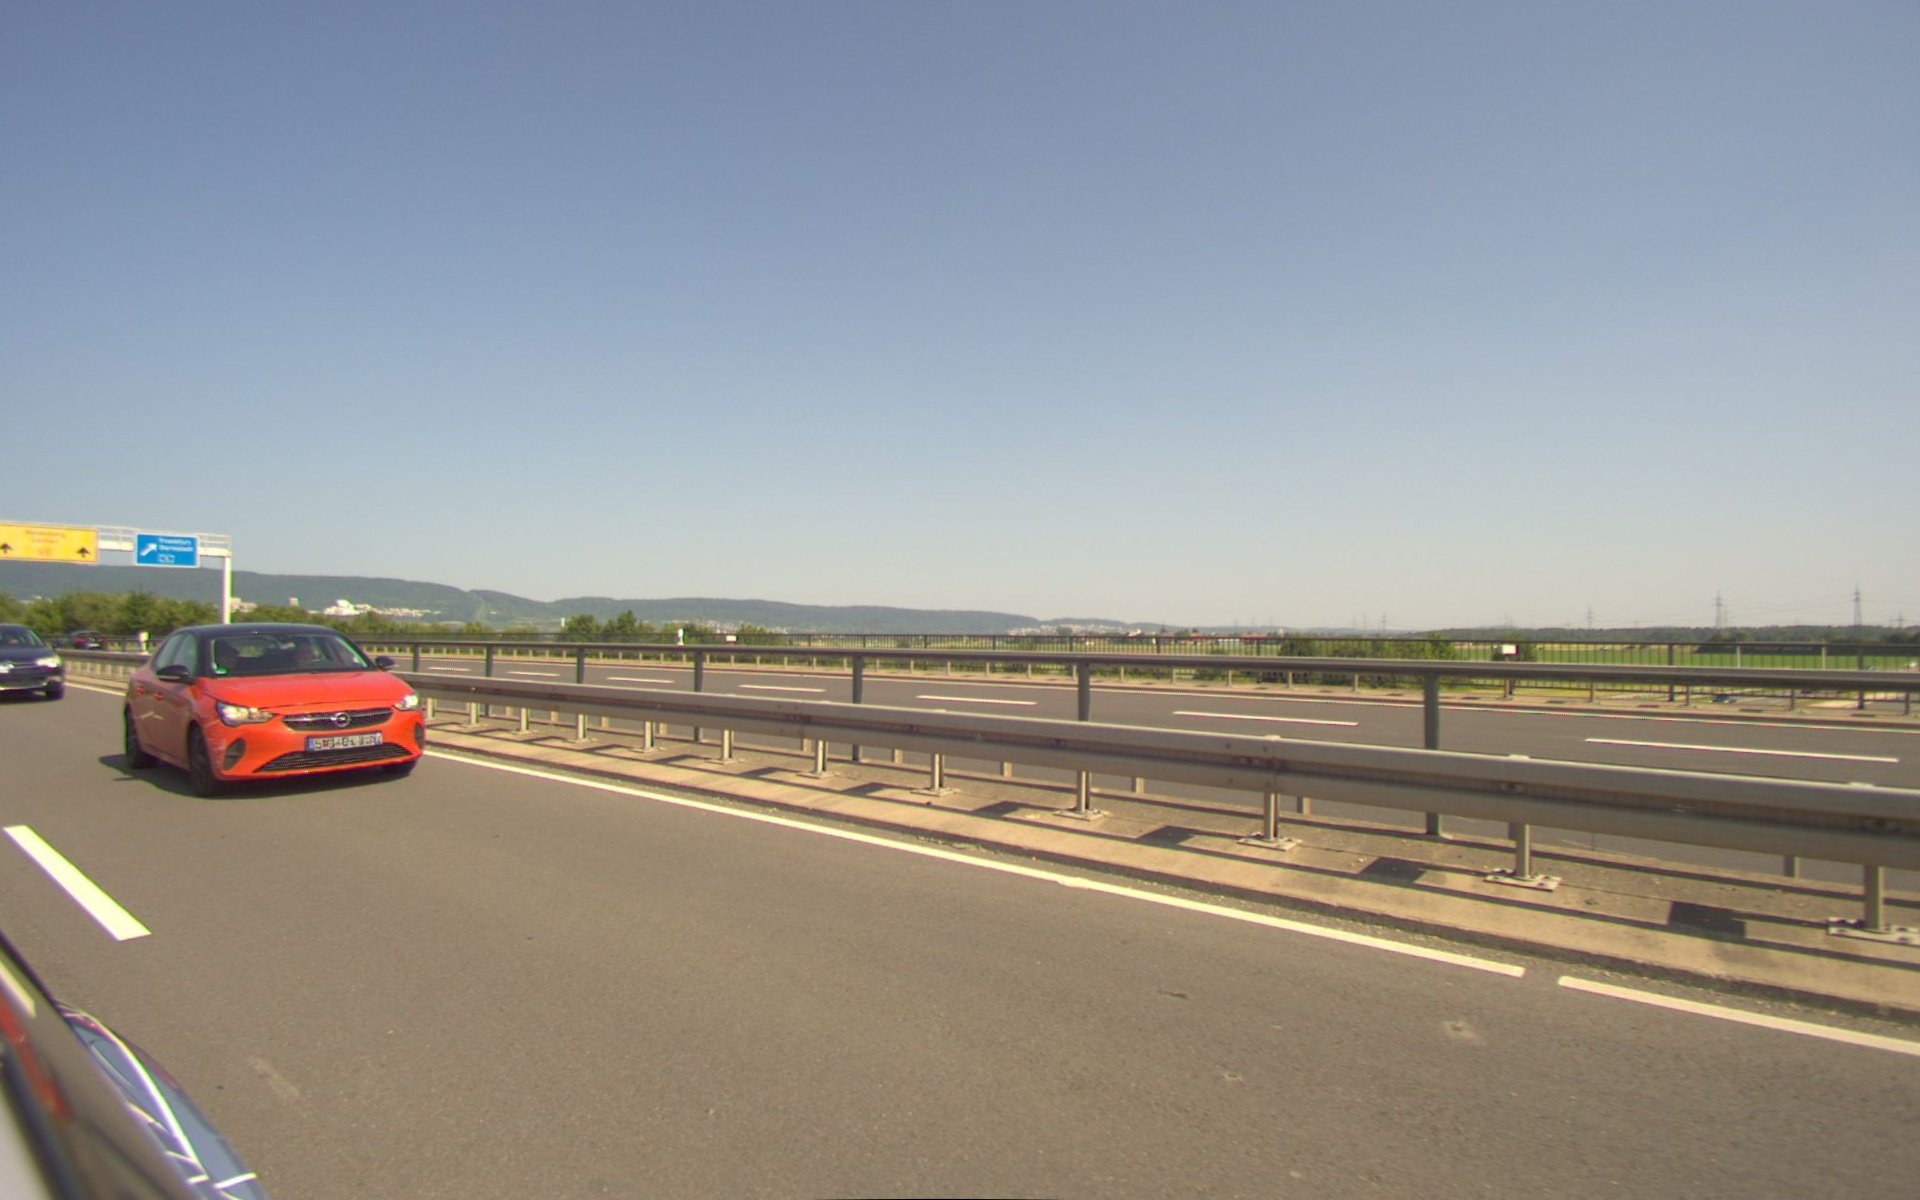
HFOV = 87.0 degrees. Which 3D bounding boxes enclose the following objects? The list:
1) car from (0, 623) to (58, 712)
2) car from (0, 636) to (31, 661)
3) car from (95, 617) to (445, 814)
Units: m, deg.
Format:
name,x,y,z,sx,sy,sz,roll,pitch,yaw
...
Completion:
name,x,y,z,sx,sy,sz,roll,pitch,yaw
car,-18.761,1.238,19.416,4.375,1.545,1.764,-1,-1,43
car,-57.159,2.914,60.736,3.665,1.427,1.536,-2,-1,39
car,-6.788,0.946,9.753,4.409,1.448,1.691,-2,-1,41
